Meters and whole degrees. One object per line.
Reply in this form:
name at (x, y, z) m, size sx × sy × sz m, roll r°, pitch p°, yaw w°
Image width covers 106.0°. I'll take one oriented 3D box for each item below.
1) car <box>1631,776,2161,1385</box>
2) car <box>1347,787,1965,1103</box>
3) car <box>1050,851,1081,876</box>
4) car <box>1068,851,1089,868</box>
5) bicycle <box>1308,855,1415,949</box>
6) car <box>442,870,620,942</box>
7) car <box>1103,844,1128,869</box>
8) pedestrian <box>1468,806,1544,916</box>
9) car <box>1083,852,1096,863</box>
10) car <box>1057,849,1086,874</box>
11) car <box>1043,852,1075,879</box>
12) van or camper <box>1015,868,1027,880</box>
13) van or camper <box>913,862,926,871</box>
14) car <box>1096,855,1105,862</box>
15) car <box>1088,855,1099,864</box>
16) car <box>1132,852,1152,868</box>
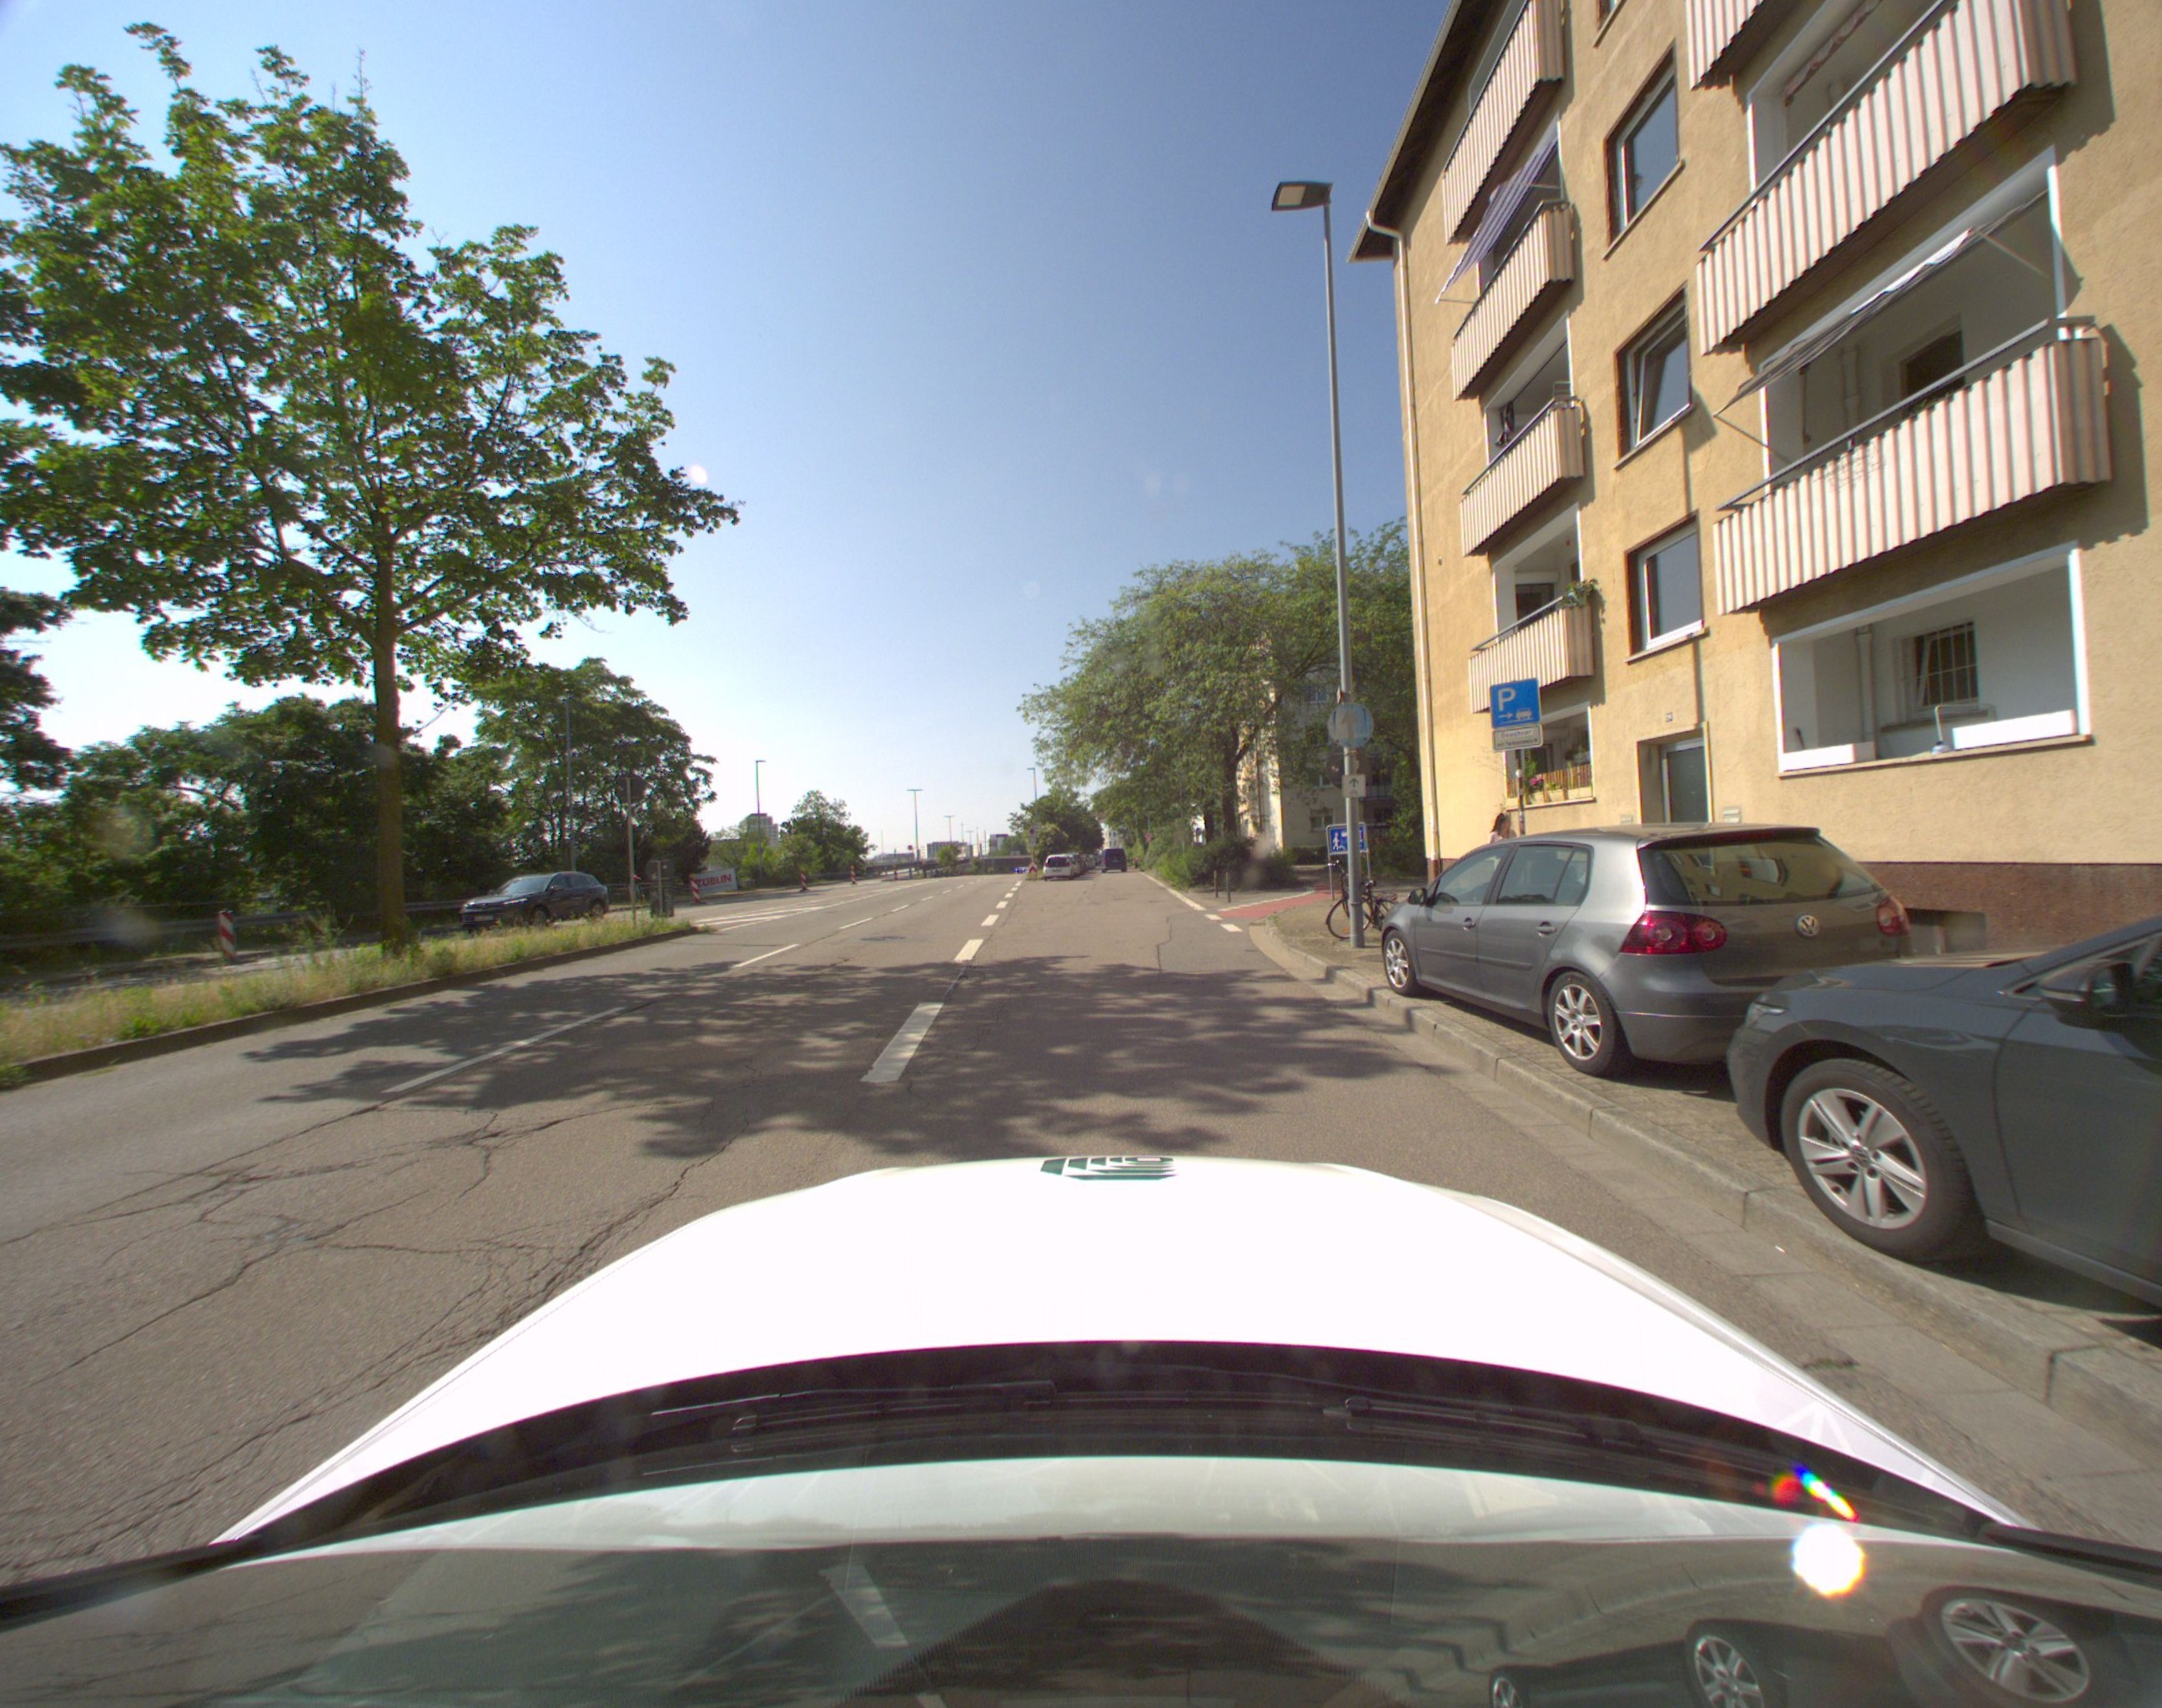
car at (3.421, 0.504, 1.608) m, size 1.706 × 1.462 × 4.254 m, roll -3°, pitch 0°, yaw -1°
car at (3.685, 0.450, 6.288) m, size 1.699 × 1.514 × 4.088 m, roll -4°, pitch 1°, yaw -2°
car at (-0.964, 0.590, 52.647) m, size 1.714 × 1.505 × 4.135 m, roll 0°, pitch 0°, yaw 3°
car at (-0.220, 0.456, 73.824) m, size 1.657 × 1.473 × 3.792 m, roll 0°, pitch 0°, yaw 3°
bicycle at (3.756, 0.599, 11.075) m, size 0.701 × 1.123 × 1.743 m, roll -3°, pitch 0°, yaw -4°
car at (-15.787, 1.415, 23.774) m, size 1.988 × 1.734 × 4.727 m, roll -3°, pitch 0°, yaw -1°
car at (2.781, 0.207, 65.310) m, size 1.875 × 1.921 × 4.011 m, roll 0°, pitch 0°, yaw 3°
pedestrian at (6.599, 0.101, 12.685) m, size 0.652 × 1.609 × 0.824 m, roll -5°, pitch 0°, yaw 2°
car at (1.256, 0.476, 116.747) m, size 1.657 × 1.509 × 4.011 m, roll 0°, pitch 0°, yaw 3°
car at (-0.693, 0.521, 58.058) m, size 1.768 × 1.579 × 4.180 m, roll -4°, pitch 0°, yaw -4°
car at (-1.255, 0.659, 47.925) m, size 1.613 × 1.505 × 3.464 m, roll -2°, pitch 0°, yaw 3°
van or camper at (-14.496, 4.803, 197.899) m, size 2.288 × 2.789 × 5.572 m, roll -2°, pitch 0°, yaw 1°
van or camper at (-27.137, 2.063, 136.951) m, size 1.464 × 1.350 × 4.624 m, roll -3°, pitch 0°, yaw -4°
car at (4.444, 1.049, 185.997) m, size 1.986 × 1.657 × 4.001 m, roll -2°, pitch 0°, yaw 1°
car at (2.039, 0.859, 132.874) m, size 1.657 × 1.509 × 4.011 m, roll 0°, pitch 0°, yaw 3°
car at (6.044, 0.564, 80.702) m, size 1.720 × 1.420 × 4.002 m, roll -4°, pitch 0°, yaw 2°
